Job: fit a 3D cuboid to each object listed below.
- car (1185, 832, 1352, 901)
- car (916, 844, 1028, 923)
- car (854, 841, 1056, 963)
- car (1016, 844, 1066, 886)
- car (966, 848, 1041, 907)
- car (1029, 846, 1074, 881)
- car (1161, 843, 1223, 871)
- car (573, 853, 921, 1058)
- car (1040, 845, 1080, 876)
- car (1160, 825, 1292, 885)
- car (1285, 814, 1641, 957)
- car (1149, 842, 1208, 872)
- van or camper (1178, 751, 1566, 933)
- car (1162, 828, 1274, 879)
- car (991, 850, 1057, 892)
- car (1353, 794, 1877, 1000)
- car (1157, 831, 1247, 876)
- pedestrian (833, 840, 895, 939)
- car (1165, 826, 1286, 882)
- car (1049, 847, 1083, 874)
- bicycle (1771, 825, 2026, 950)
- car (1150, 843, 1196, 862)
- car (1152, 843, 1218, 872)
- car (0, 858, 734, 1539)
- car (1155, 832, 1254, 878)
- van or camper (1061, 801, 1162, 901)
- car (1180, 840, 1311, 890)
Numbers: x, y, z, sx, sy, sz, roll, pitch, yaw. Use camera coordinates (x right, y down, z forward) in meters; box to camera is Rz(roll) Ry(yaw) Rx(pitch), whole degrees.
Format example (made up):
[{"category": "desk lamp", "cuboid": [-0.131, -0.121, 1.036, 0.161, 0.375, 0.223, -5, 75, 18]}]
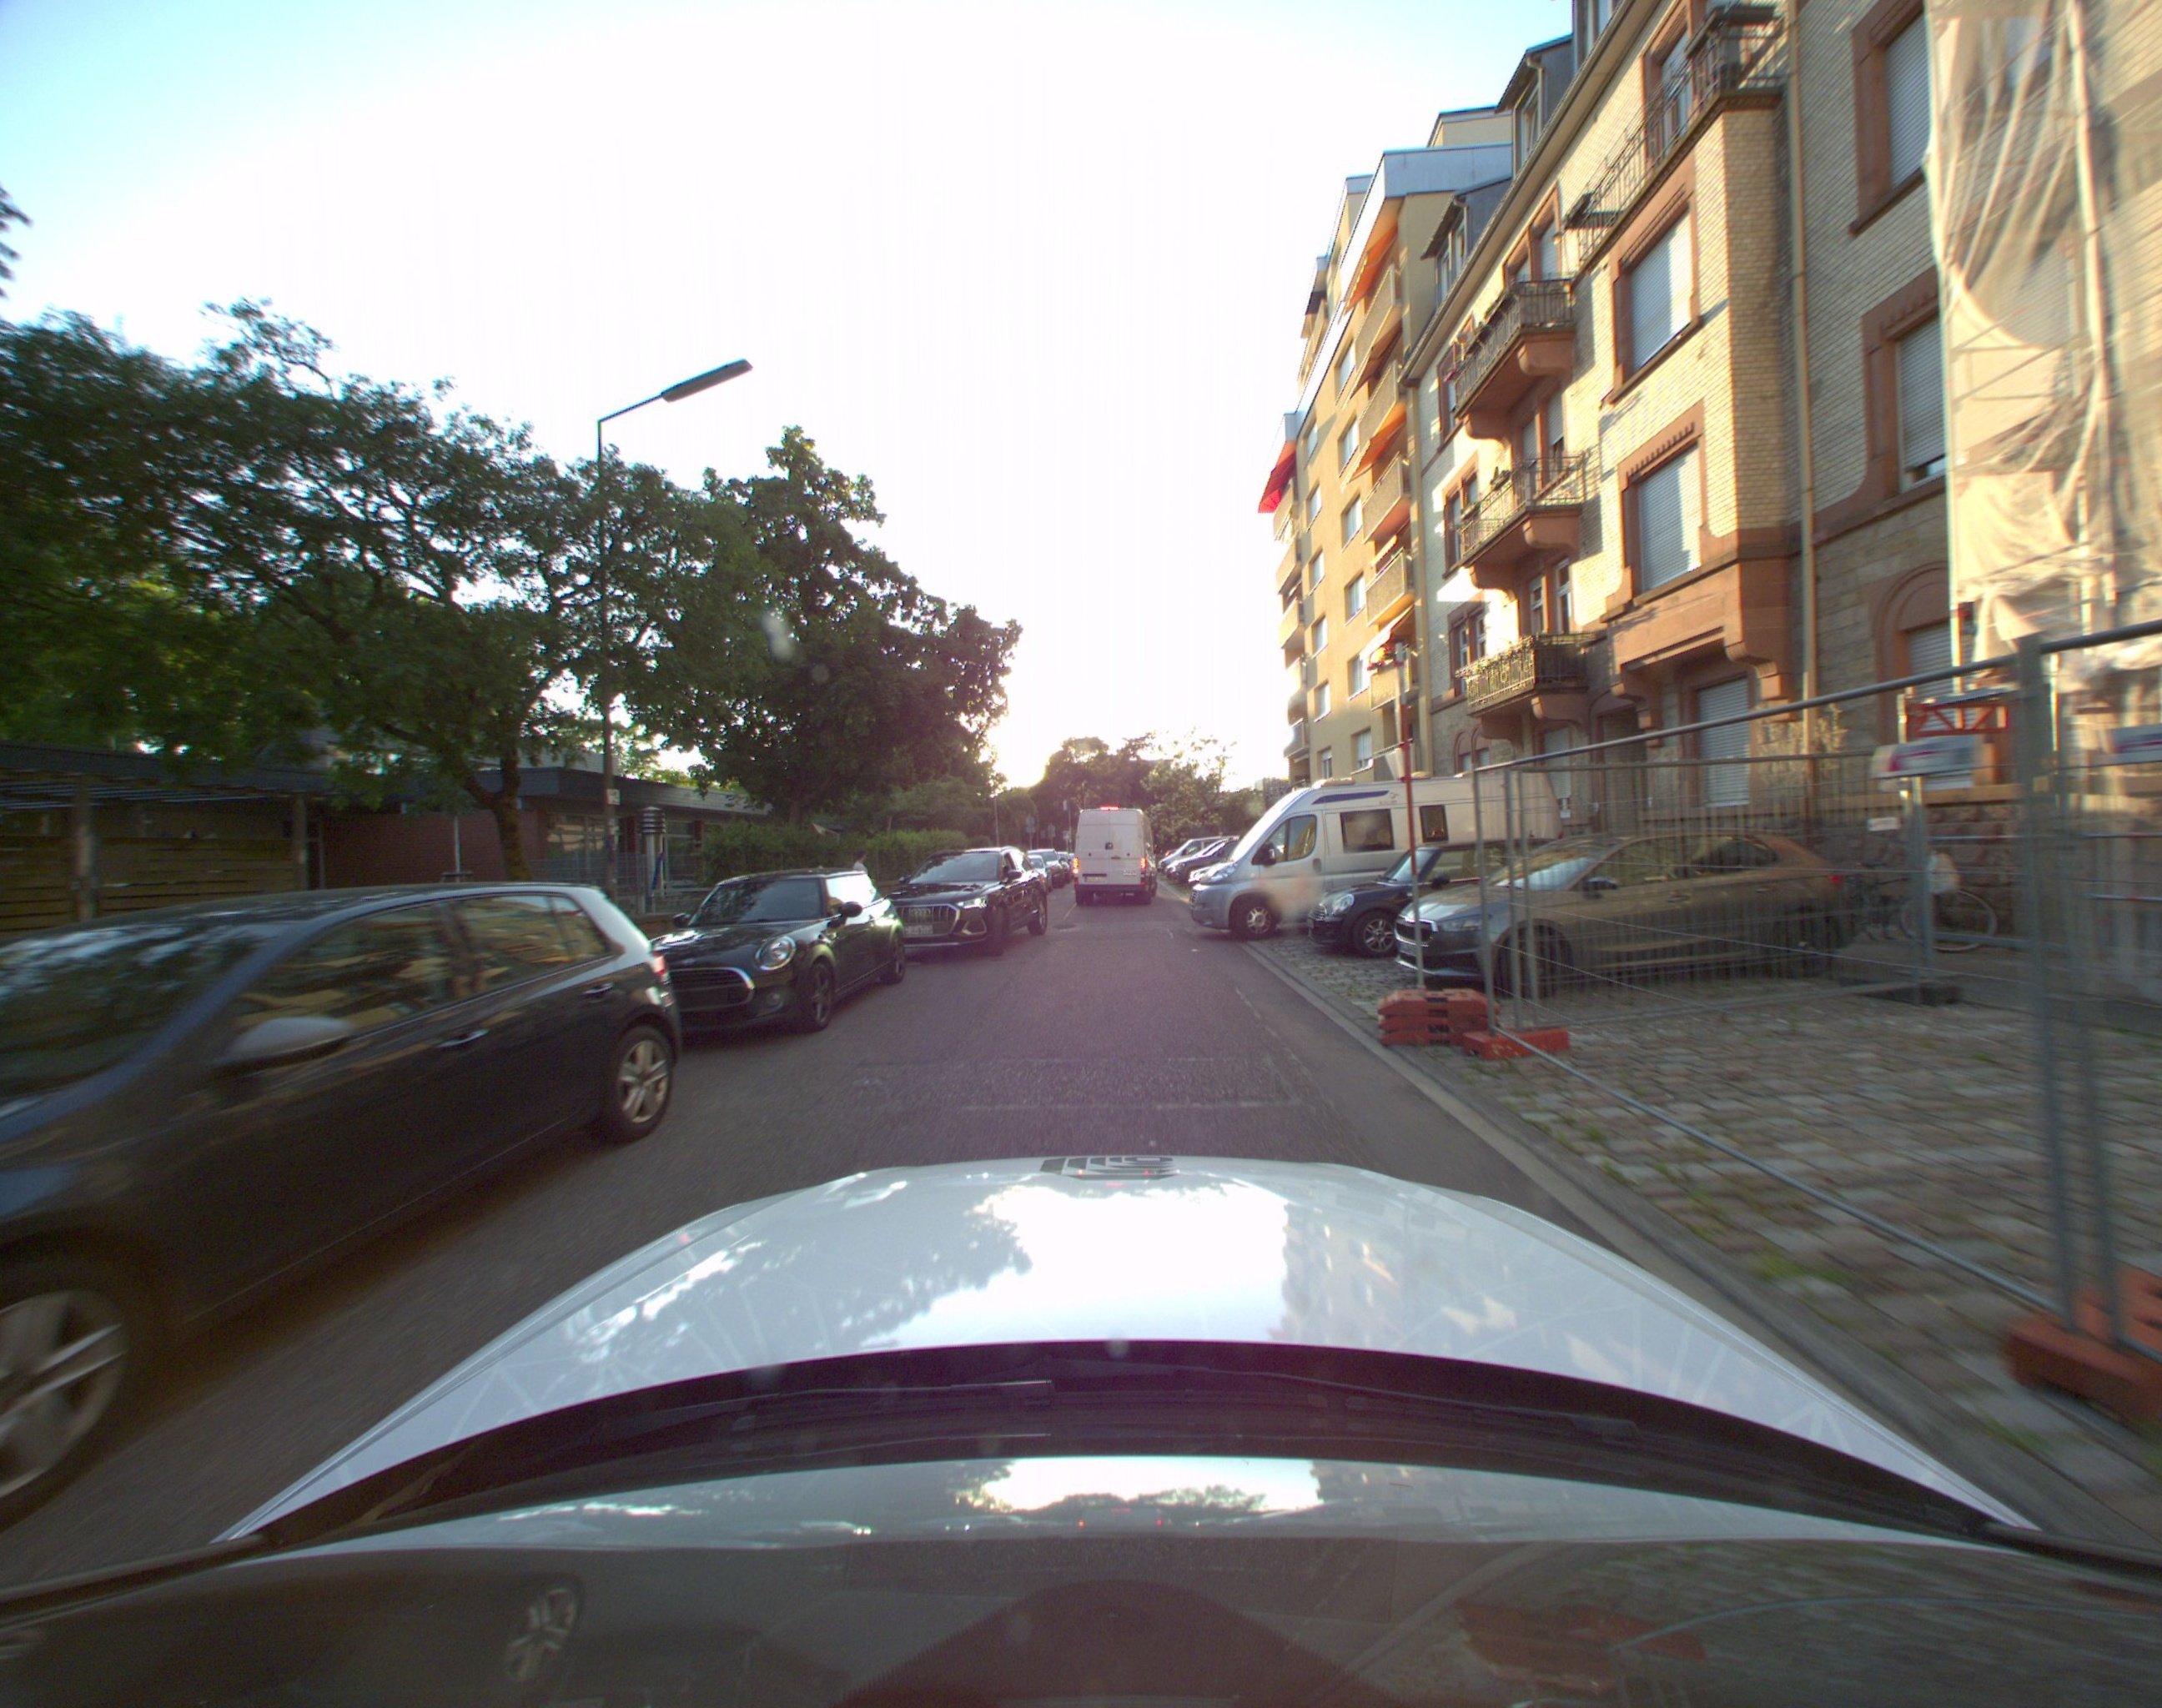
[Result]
[{"category": "car", "cuboid": [4.971, 0.313, 21.923, 3.977, 1.453, 1.834, -5, 0, -2]}, {"category": "car", "cuboid": [-2.549, 0.634, 20.001, 1.775, 1.631, 4.005, -4, 0, 5]}, {"category": "car", "cuboid": [-1.782, 0.633, 13.234, 1.793, 1.569, 4.578, -3, 0, 10]}, {"category": "car", "cuboid": [-1.688, 0.444, 35.542, 1.988, 1.662, 3.998, -1, 0, -2]}, {"category": "car", "cuboid": [-2.302, 0.651, 25.230, 1.850, 1.554, 4.099, -4, 0, 0]}, {"category": "car", "cuboid": [-1.415, 0.419, 40.747, 1.986, 1.618, 4.001, -1, 0, 1]}, {"category": "car", "cuboid": [7.339, 0.178, 54.128, 3.970, 1.728, 2.002, -1, 0, 3]}, {"category": "car", "cuboid": [-3.014, 0.799, 8.370, 1.630, 1.478, 3.996, -4, 0, 4]}, {"category": "car", "cuboid": [-1.136, 0.337, 45.061, 1.986, 1.618, 4.001, -1, 0, 1]}, {"category": "car", "cuboid": [5.472, 0.022, 31.230, 4.689, 2.145, 2.000, -1, 0, 1]}, {"category": "car", "cuboid": [4.966, 0.413, 11.052, 3.918, 1.486, 1.788, -4, -1, 3]}, {"category": "car", "cuboid": [6.720, 0.200, 56.515, 3.969, 2.013, 2.002, -1, 0, 4]}, {"category": "van or camper", "cuboid": [4.747, -0.191, 14.025, 5.907, 2.769, 2.110, -1, 0, 1]}, {"category": "car", "cuboid": [6.054, -0.027, 36.380, 4.689, 2.145, 2.000, -1, 0, 1]}, {"category": "car", "cuboid": [-2.037, 0.575, 30.097, 1.986, 1.398, 4.002, -1, 0, 2]}, {"category": "car", "cuboid": [5.141, 0.371, 8.294, 3.977, 1.515, 2.018, -5, 0, -2]}, {"category": "car", "cuboid": [6.366, -0.014, 43.216, 4.479, 2.230, 2.033, -1, 0, 1]}, {"category": "pedestrian", "cuboid": [-4.160, 0.668, 15.653, 0.934, 1.830, 0.787, -1, 0, 1]}, {"category": "car", "cuboid": [5.956, -0.007, 33.953, 4.689, 2.145, 2.000, -1, 0, 1]}, {"category": "car", "cuboid": [-0.892, 0.381, 50.773, 1.986, 1.618, 4.001, -1, 0, 1]}, {"category": "bicycle", "cuboid": [8.670, 0.311, 8.794, 0.629, 1.168, 2.032, -1, 0, -3]}, {"category": "car", "cuboid": [8.597, -0.128, 76.387, 3.976, 1.618, 1.999, -1, 0, -1]}, {"category": "car", "cuboid": [6.483, 0.207, 51.116, 3.970, 1.728, 2.002, -1, 0, 3]}, {"category": "car", "cuboid": [-3.303, 0.845, 3.329, 1.709, 1.496, 4.362, -4, 0, 1]}, {"category": "car", "cuboid": [6.145, 0.032, 41.062, 4.689, 2.145, 2.000, -1, 0, 1]}, {"category": "van or camper", "cuboid": [1.077, -0.105, 23.932, 2.440, 2.547, 6.095, 0, 0, 7]}, {"category": "car", "cuboid": [5.702, 0.359, 28.632, 4.221, 1.425, 1.720, -4, 0, 1]}]
